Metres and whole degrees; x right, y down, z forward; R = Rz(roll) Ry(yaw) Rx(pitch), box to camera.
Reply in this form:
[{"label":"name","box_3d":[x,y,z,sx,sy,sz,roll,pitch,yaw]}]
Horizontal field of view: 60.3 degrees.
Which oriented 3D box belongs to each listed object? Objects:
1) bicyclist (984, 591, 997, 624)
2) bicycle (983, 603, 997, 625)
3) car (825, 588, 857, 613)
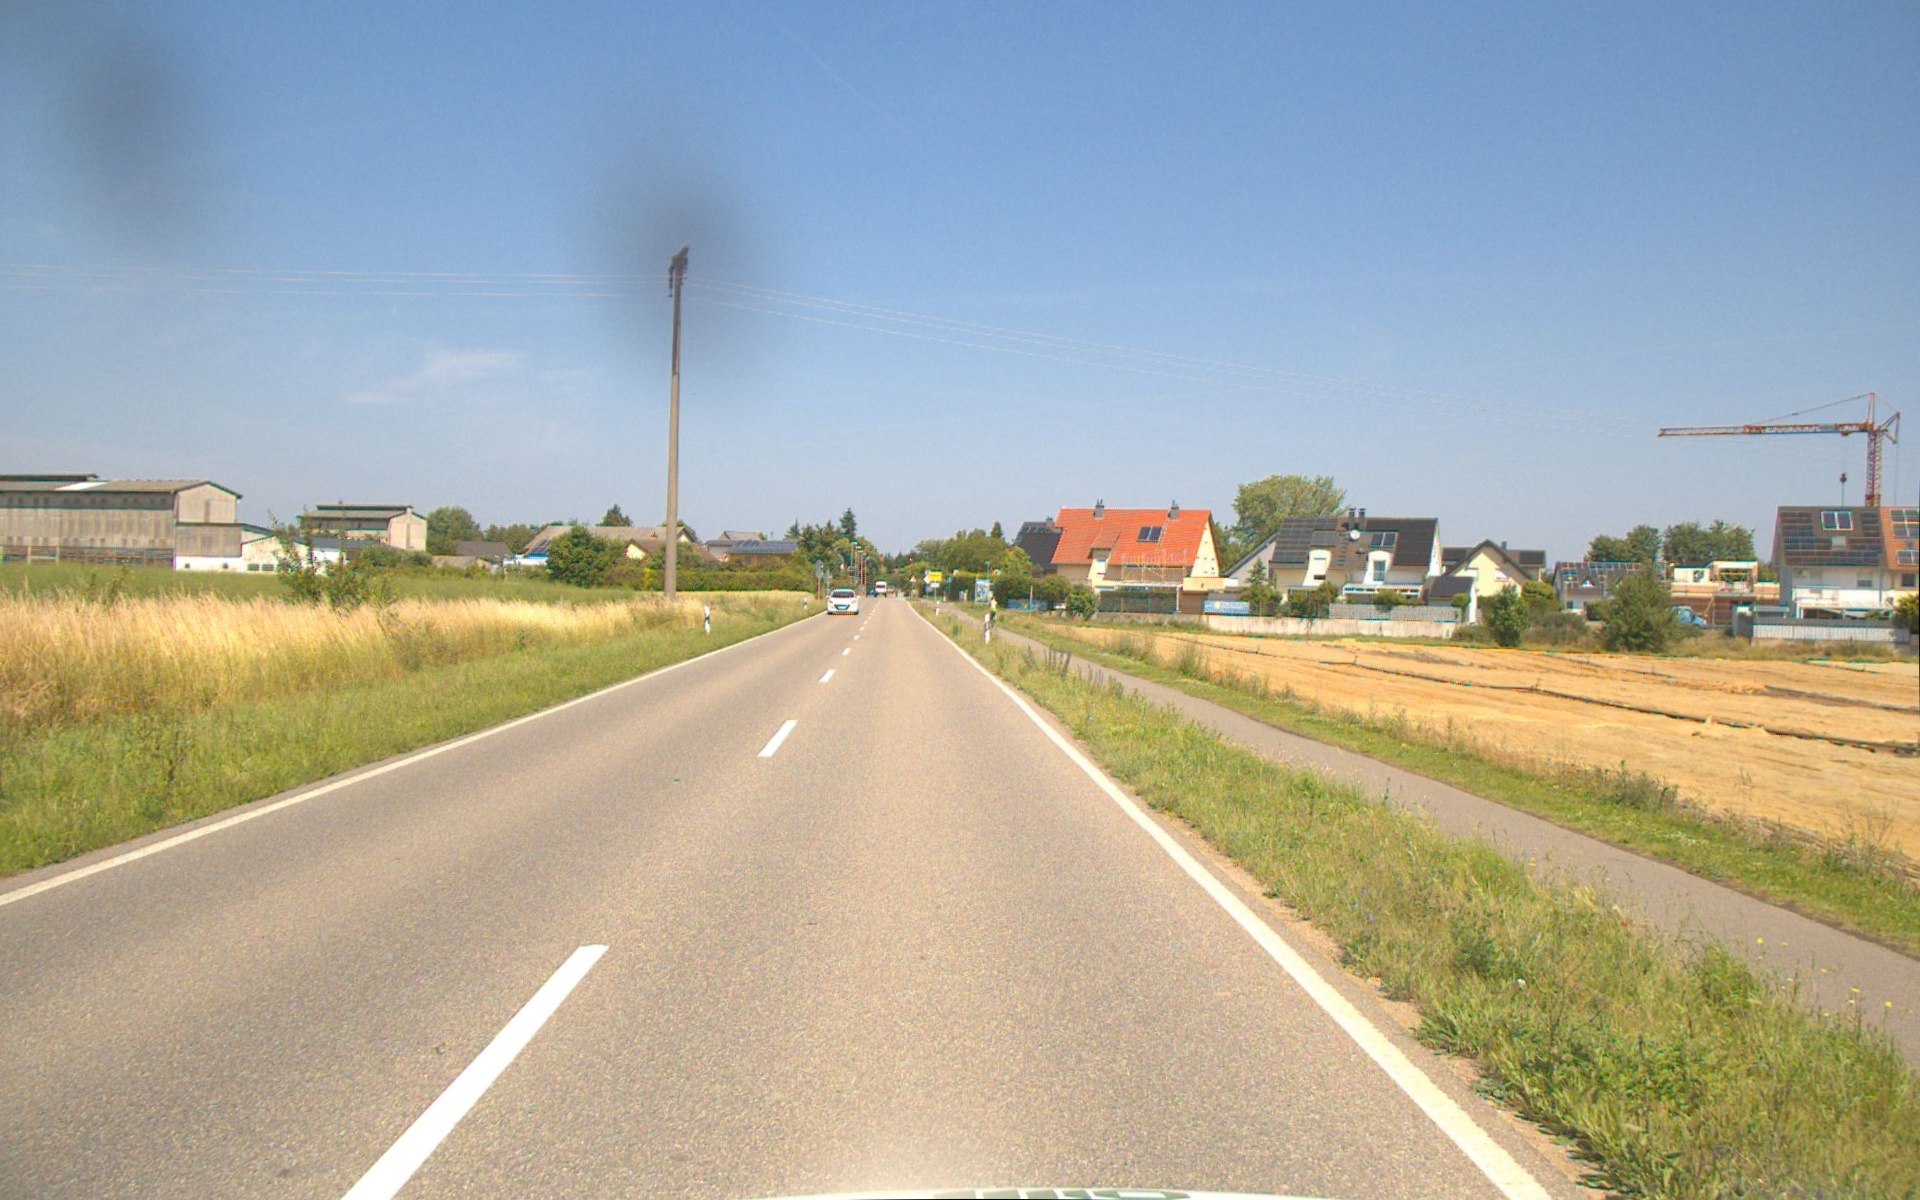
[{"label":"bicyclist","box_3d":[1.823,0.440,98.627,0.632,1.922,0.860,3,1,-3]},{"label":"bicycle","box_3d":[1.800,0.815,98.753,0.598,1.179,2.273,3,1,-3]},{"label":"car","box_3d":[-6.986,0.031,97.476,1.756,1.434,4.183,0,0,-3]}]
